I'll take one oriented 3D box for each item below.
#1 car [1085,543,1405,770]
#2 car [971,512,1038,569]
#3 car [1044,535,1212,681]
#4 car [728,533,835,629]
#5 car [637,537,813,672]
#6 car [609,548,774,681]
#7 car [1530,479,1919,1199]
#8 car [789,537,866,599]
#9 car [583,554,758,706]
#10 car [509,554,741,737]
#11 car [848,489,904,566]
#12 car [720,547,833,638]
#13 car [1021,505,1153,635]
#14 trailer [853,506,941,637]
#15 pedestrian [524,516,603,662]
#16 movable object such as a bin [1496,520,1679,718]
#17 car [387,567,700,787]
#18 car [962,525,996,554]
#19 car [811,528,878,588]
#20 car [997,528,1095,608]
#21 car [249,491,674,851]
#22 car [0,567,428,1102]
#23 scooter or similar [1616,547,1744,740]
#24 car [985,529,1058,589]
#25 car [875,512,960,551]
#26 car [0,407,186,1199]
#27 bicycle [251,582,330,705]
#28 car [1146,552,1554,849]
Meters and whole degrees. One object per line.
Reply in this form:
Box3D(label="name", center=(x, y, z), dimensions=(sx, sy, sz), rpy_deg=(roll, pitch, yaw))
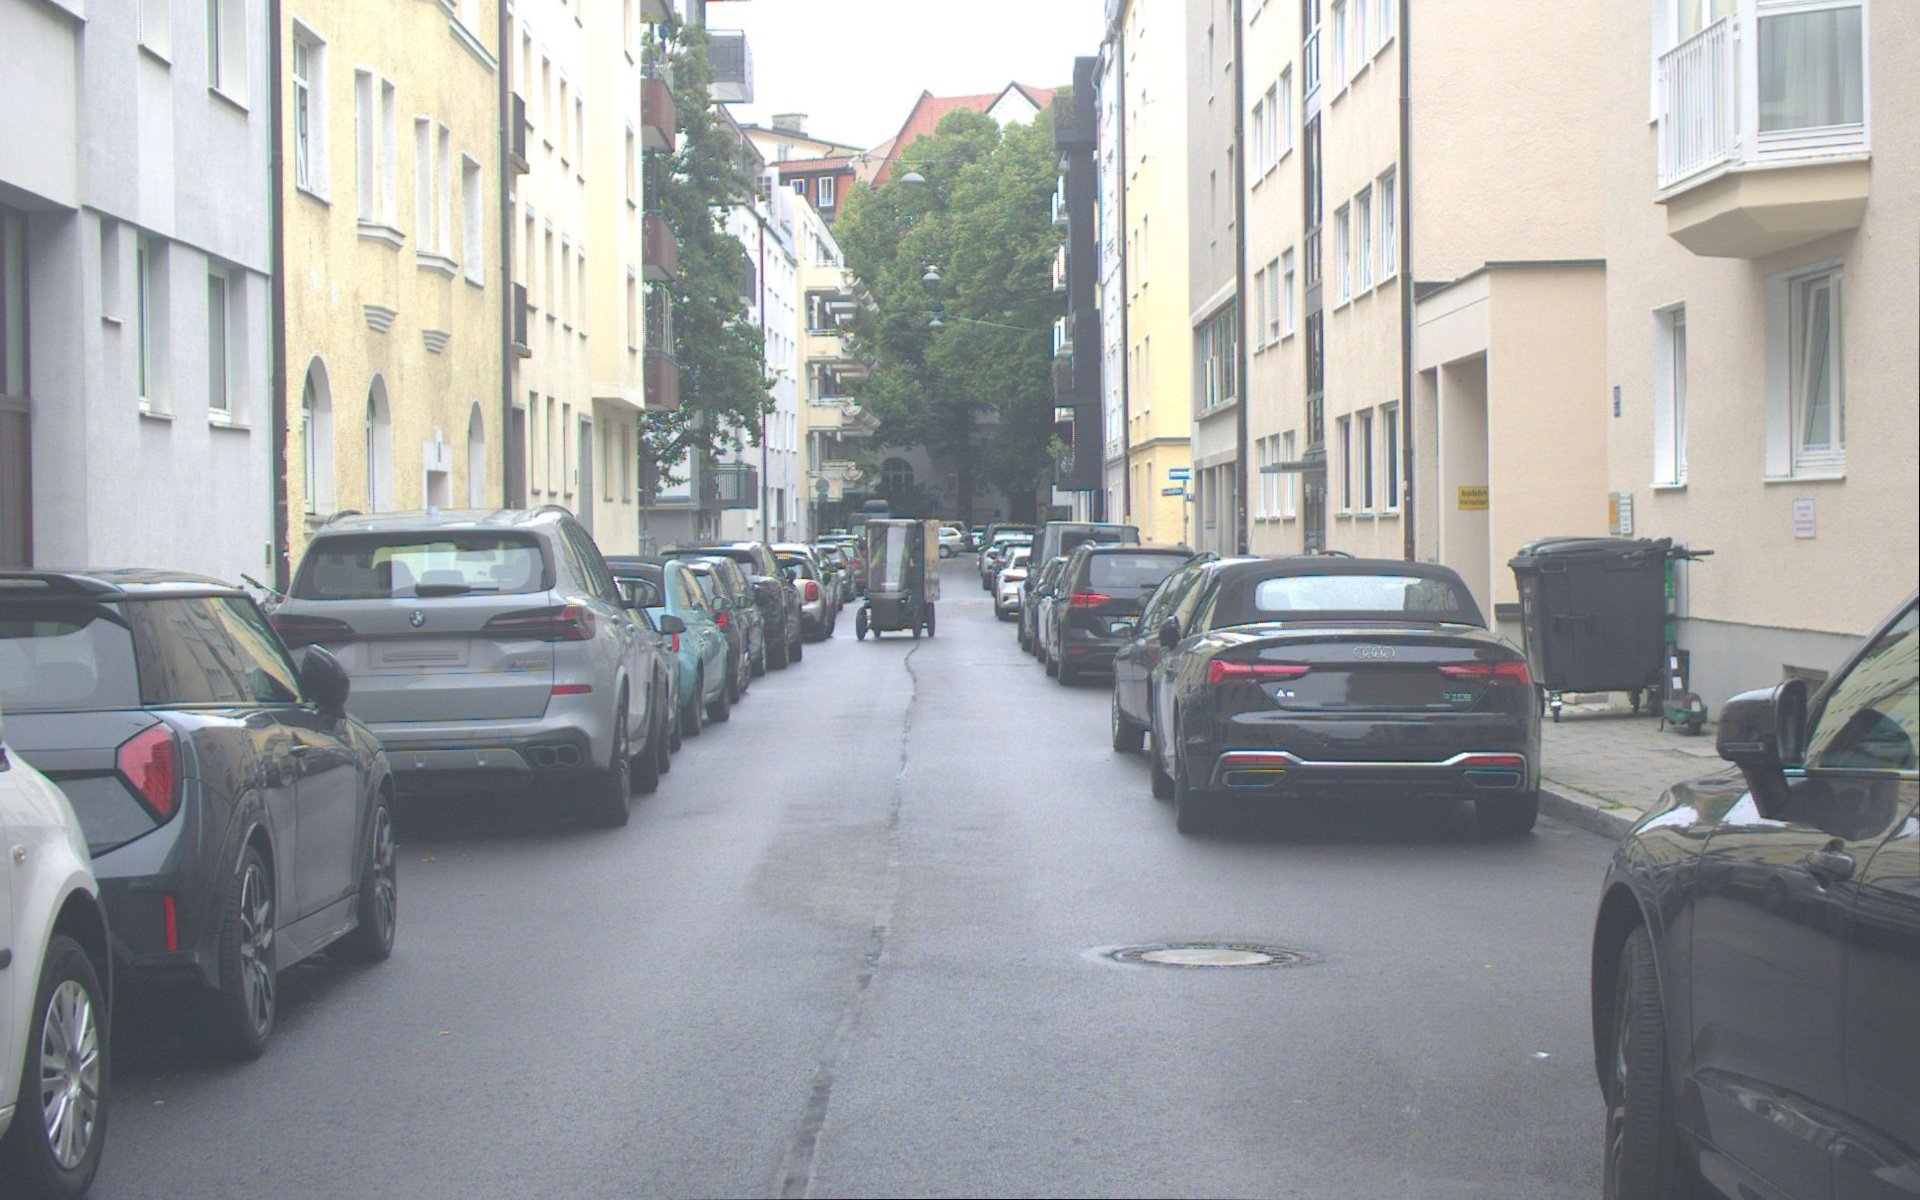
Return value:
Box3D(label="car", center=(1.950, 0.341, 24.740), dimensions=(1.716, 1.466, 4.532), rpy_deg=(1, 1, -3))
Box3D(label="car", center=(1.285, -1.766, 100.587), dimensions=(1.682, 1.562, 4.416), rpy_deg=(2, 2, -2))
Box3D(label="car", center=(1.914, 0.064, 40.284), dimensions=(1.711, 1.602, 4.244), rpy_deg=(1, 1, 0))
Box3D(label="car", center=(-3.240, -0.372, 63.081), dimensions=(1.766, 1.669, 4.368), rpy_deg=(-1, 1, -1))
Box3D(label="car", center=(-3.045, 0.017, 45.346), dimensions=(1.879, 1.654, 4.415), rpy_deg=(-1, 1, 1))
Box3D(label="car", center=(-3.120, 0.141, 40.499), dimensions=(1.563, 1.455, 3.475), rpy_deg=(-1, 1, 1))
Box3D(label="car", center=(2.219, 0.644, 5.314), dimensions=(1.832, 1.616, 4.411), rpy_deg=(1, 1, -1))
Box3D(label="car", center=(-3.281, -0.824, 85.672), dimensions=(1.693, 1.437, 3.942), rpy_deg=(-2, 1, 1))
Box3D(label="car", center=(-2.954, 0.269, 35.605), dimensions=(1.563, 1.455, 3.764), rpy_deg=(-1, 1, -2))
Box3D(label="car", center=(-2.842, 0.349, 29.757), dimensions=(1.563, 1.455, 3.404), rpy_deg=(-1, 1, 1))
Box3D(label="car", center=(-3.223, -2.803, 132.106), dimensions=(1.936, 2.792, 4.533), rpy_deg=(-3, 1, 0))
Box3D(label="car", center=(-3.055, -0.153, 57.810), dimensions=(1.652, 1.431, 3.803), rpy_deg=(-1, 1, 0))
Box3D(label="car", center=(2.021, -0.526, 55.839), dimensions=(1.750, 1.968, 4.343), rpy_deg=(2, 2, -2))
Box3D(label="trailer", center=(-1.034, -0.471, 57.606), dimensions=(1.355, 2.108, 3.318), rpy_deg=(-1, 0, 0))
Box3D(label="pedestrian", center=(-4.840, -0.141, 42.022), dimensions=(0.839, 1.758, 1.068), rpy_deg=(0, 1, 0))
Box3D(label="movable object such as a bin", center=(4.744, 0.134, 26.121), dimensions=(1.032, 1.418, 1.587), rpy_deg=(-2, 1, 0))
Box3D(label="car", center=(-2.928, 0.491, 24.966), dimensions=(1.811, 1.381, 4.251), rpy_deg=(-2, 1, -2))
Box3D(label="car", center=(0.972, -3.153, 177.835), dimensions=(1.642, 1.379, 3.746), rpy_deg=(-3, 1, 0))
Box3D(label="car", center=(-3.310, -1.229, 99.190), dimensions=(1.776, 1.623, 4.415), rpy_deg=(-2, 1, 0))
Box3D(label="car", center=(1.734, -0.673, 70.375), dimensions=(1.819, 1.403, 3.953), rpy_deg=(0, 4, -1))
Box3D(label="car", center=(-2.749, 0.333, 19.990), dimensions=(1.862, 1.764, 4.736), rpy_deg=(-2, 1, -2))
Box3D(label="car", center=(-2.829, 0.648, 11.059), dimensions=(1.652, 1.406, 3.735), rpy_deg=(-2, 0, -1))
Box3D(label="scooter or similar", center=(4.915, 0.286, 23.506), dimensions=(0.576, 1.262, 1.136), rpy_deg=(-2, 1, -1))
Box3D(label="car", center=(1.602, -1.100, 90.539), dimensions=(1.751, 1.464, 4.343), rpy_deg=(2, 2, 0))
Box3D(label="car", center=(-1.976, -3.193, 160.683), dimensions=(3.885, 1.579, 1.648), rpy_deg=(-3, 1, -1))
Box3D(label="car", center=(-2.829, 0.540, 6.279), dimensions=(1.724, 1.783, 4.249), rpy_deg=(-2, 1, 1))
Box3D(label="bicycle", center=(-5.823, 0.364, 29.940), dimensions=(0.395, 1.027, 1.570), rpy_deg=(0, 1, -1))
Box3D(label="car", center=(1.995, 0.458, 18.736), dimensions=(1.833, 1.401, 4.411), rpy_deg=(1, 1, 2))
